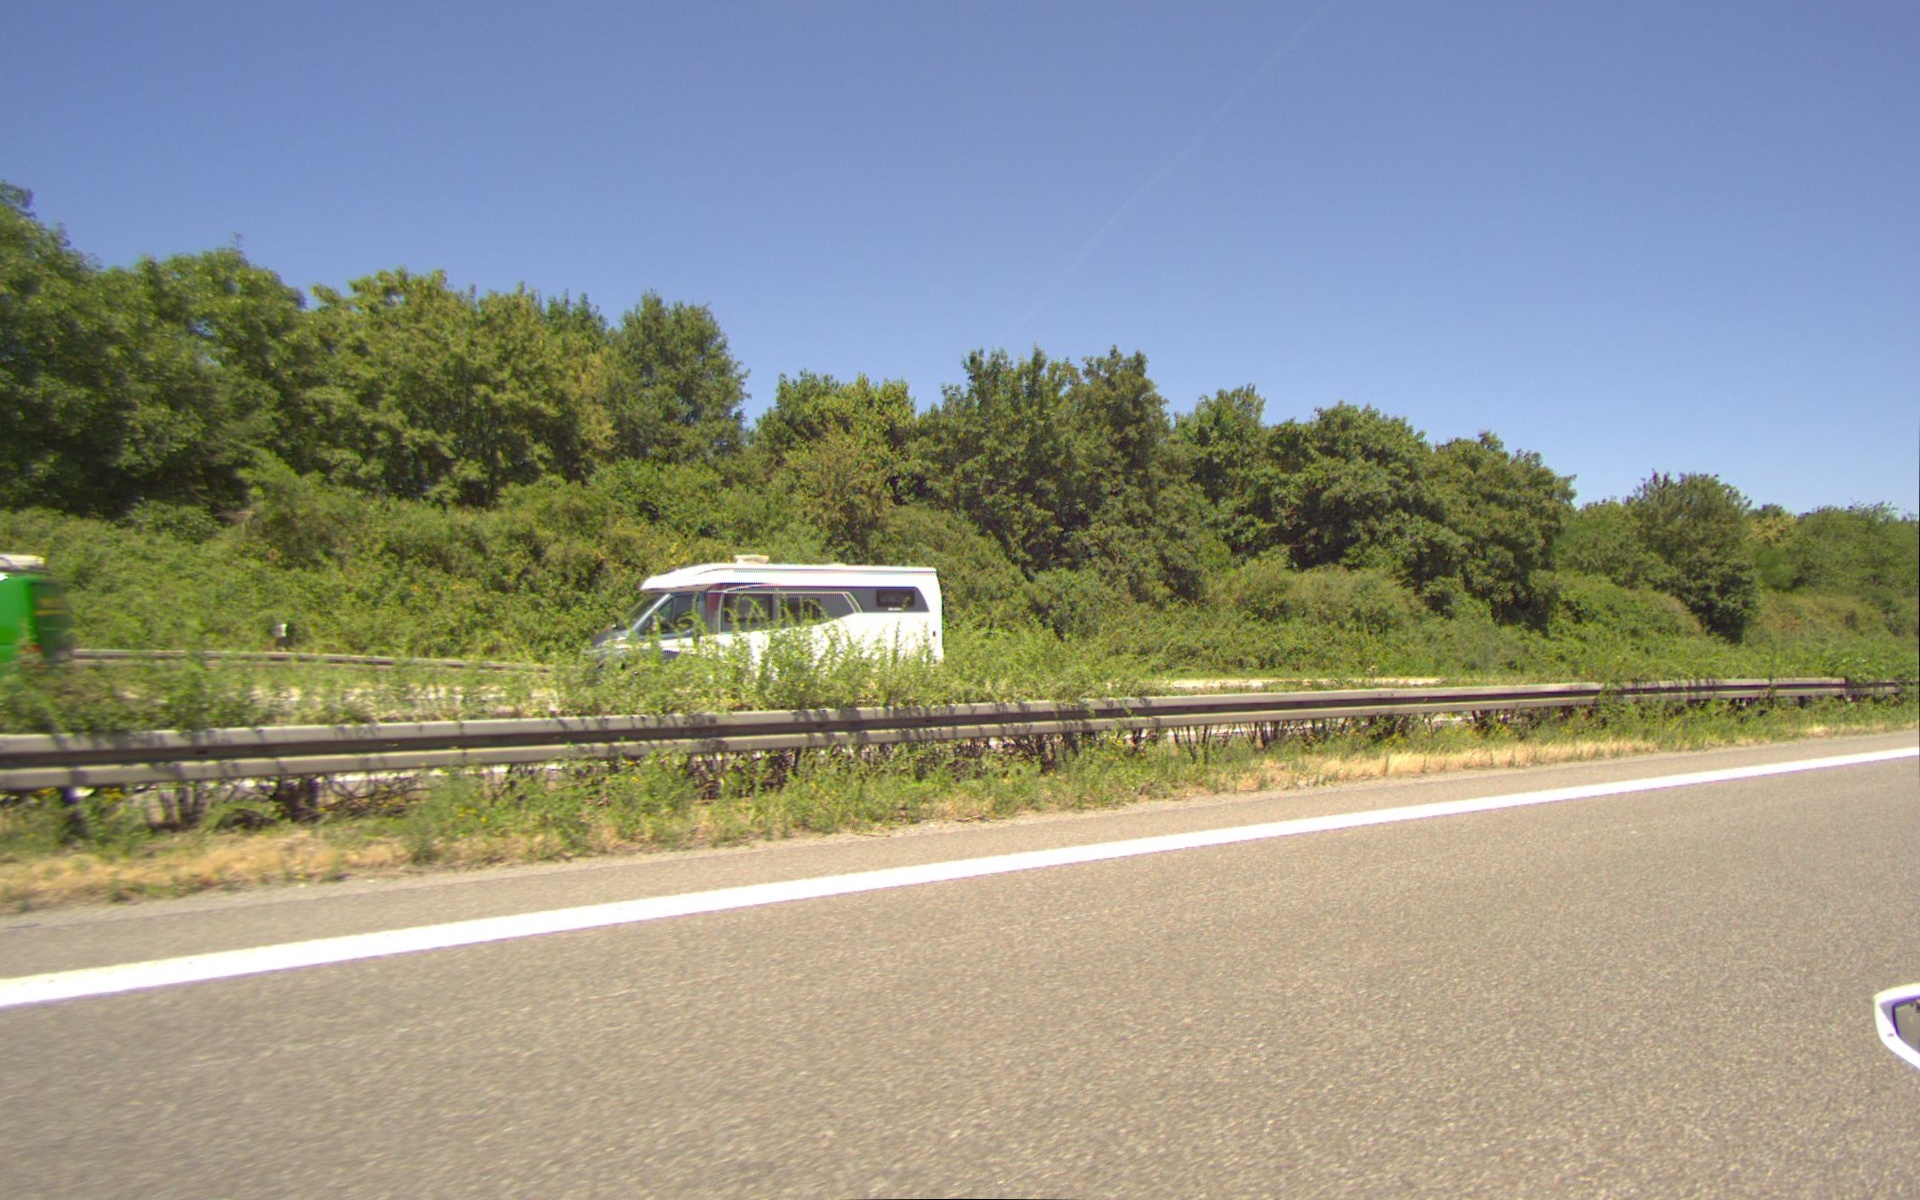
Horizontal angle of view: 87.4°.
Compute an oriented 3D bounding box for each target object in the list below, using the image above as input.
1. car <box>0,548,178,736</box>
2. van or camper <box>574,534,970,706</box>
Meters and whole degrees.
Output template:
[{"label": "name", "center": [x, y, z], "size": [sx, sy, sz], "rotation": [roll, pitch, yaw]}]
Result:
[{"label": "car", "center": [-13.282, 0.462, 12.014], "size": [5.876, 2.215, 2.272], "rotation": [2, -1, -30]}, {"label": "van or camper", "center": [-3.737, 0.462, 20.844], "size": [7.665, 3.042, 2.594], "rotation": [2, -1, -30]}]
